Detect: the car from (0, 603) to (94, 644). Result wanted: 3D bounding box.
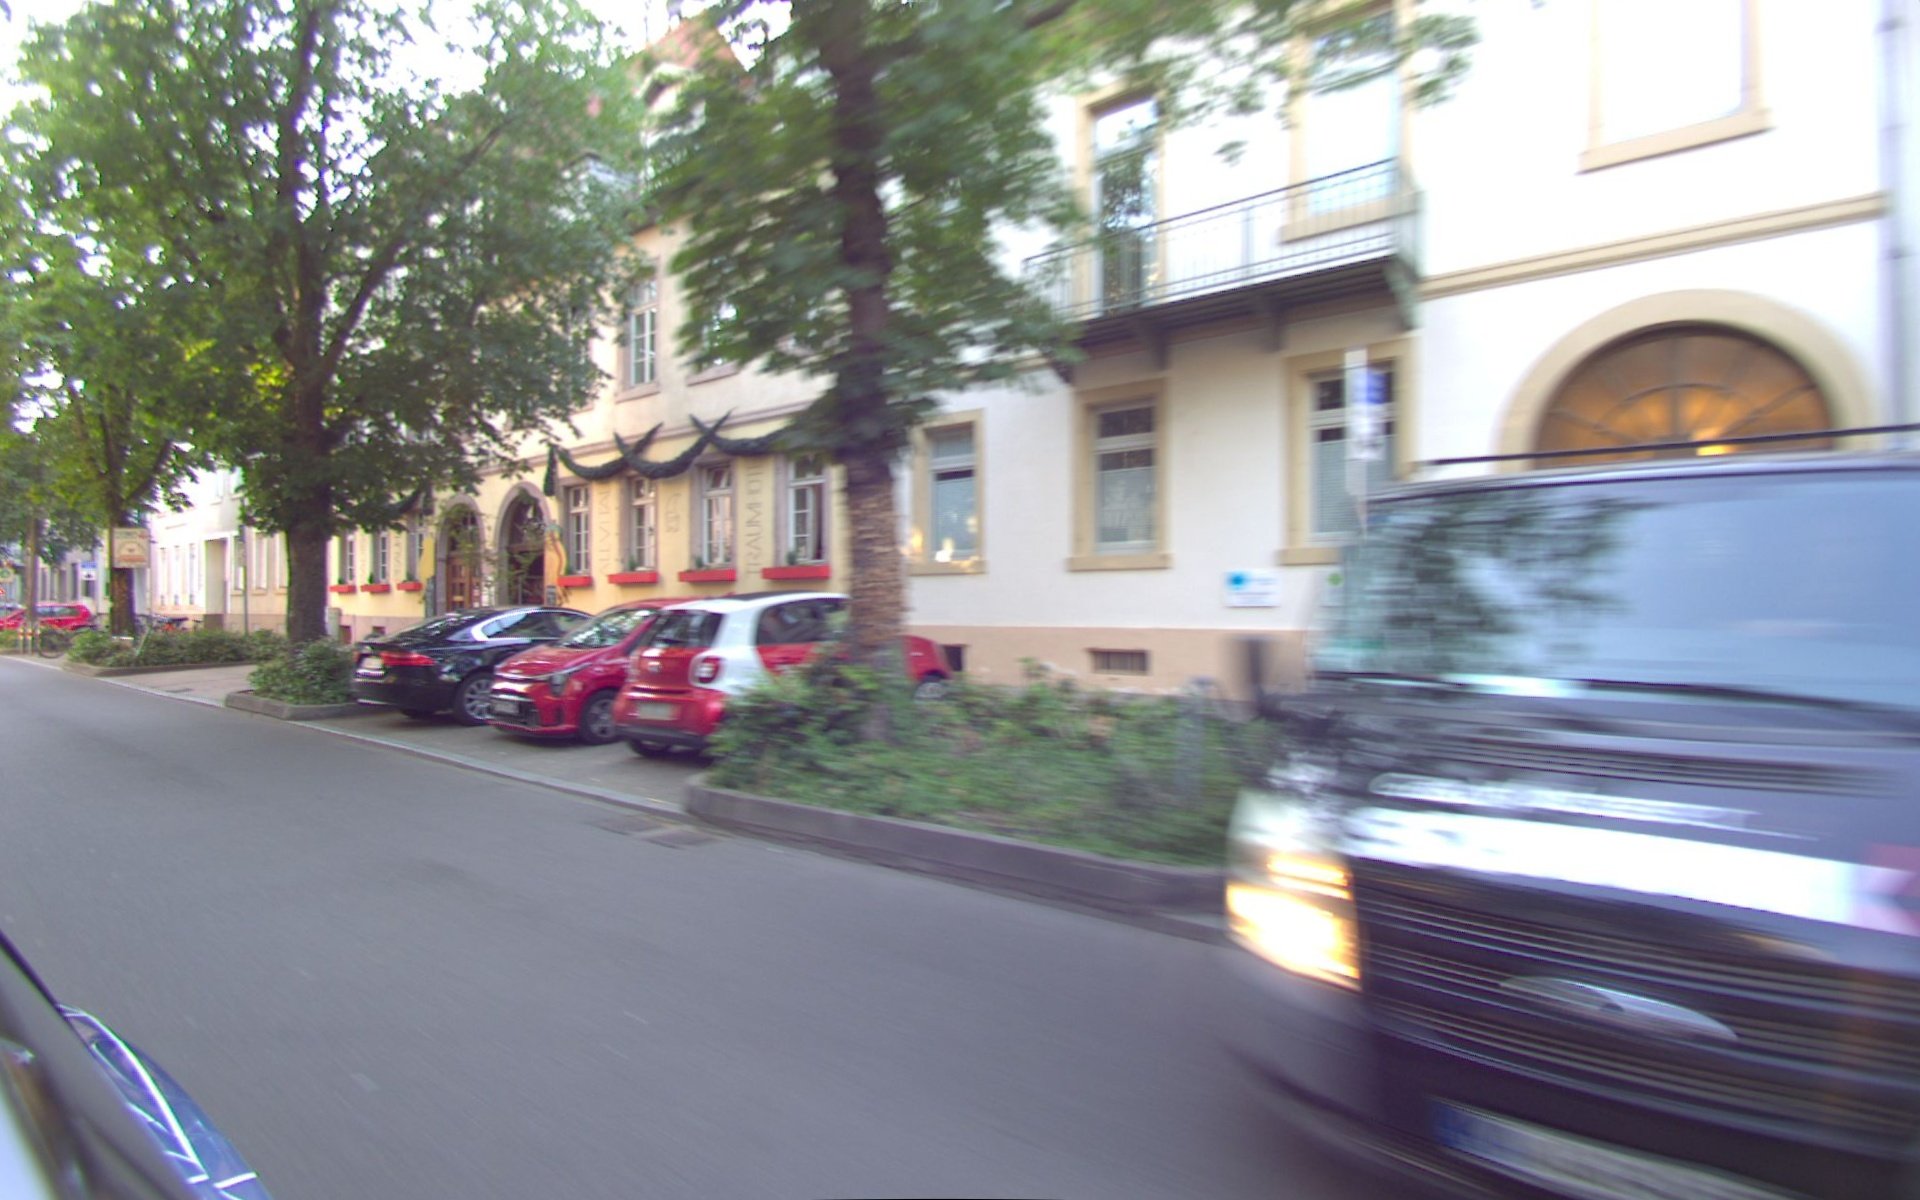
[{"bbox_3d":[-35.185,0.890,38.213,1.670,1.416,3.456,-1,1,37],"label":"car"}]

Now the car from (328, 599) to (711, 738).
[{"bbox_3d":[-5.576,0.746,13.368,1.715,1.417,4.385,1,2,36],"label":"car"}]

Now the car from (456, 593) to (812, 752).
[{"bbox_3d":[-3.671,0.709,11.871,1.658,1.460,3.647,-1,1,40],"label":"car"}]

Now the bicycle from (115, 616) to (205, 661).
[{"bbox_3d":[-21.607,1.014,27.358,0.479,1.107,1.848,0,1,33],"label":"bicycle"}]

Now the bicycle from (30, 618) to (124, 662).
[{"bbox_3d":[-23.945,1.070,27.481,0.479,1.107,1.848,0,1,33],"label":"bicycle"}]

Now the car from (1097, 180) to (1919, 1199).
[{"bbox_3d":[2.746,0.364,3.773,2.187,2.006,4.941,-1,-1,39],"label":"car"}]

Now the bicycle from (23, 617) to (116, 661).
[{"bbox_3d":[-24.408,1.044,27.780,0.479,1.106,1.848,0,1,33],"label":"bicycle"}]

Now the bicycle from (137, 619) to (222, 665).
[{"bbox_3d":[-20.437,1.088,26.519,0.479,1.107,1.693,0,1,33],"label":"bicycle"}]

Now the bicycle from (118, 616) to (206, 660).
[{"bbox_3d":[-22.023,1.023,27.969,0.508,1.107,1.848,0,1,33],"label":"bicycle"}]

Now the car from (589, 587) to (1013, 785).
[{"bbox_3d":[-1.441,0.686,10.640,1.770,1.550,4.311,1,2,40],"label":"car"}]

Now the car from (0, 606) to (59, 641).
[{"bbox_3d":[-41.712,1.067,43.996,1.588,1.430,3.510,-1,1,37],"label":"car"}]

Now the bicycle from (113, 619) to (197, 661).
[{"bbox_3d":[-23.349,1.140,29.387,0.479,1.107,1.848,0,1,33],"label":"bicycle"}]

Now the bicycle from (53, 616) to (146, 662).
[{"bbox_3d":[-23.226,1.040,27.350,0.479,1.153,1.848,0,1,33],"label":"bicycle"}]
